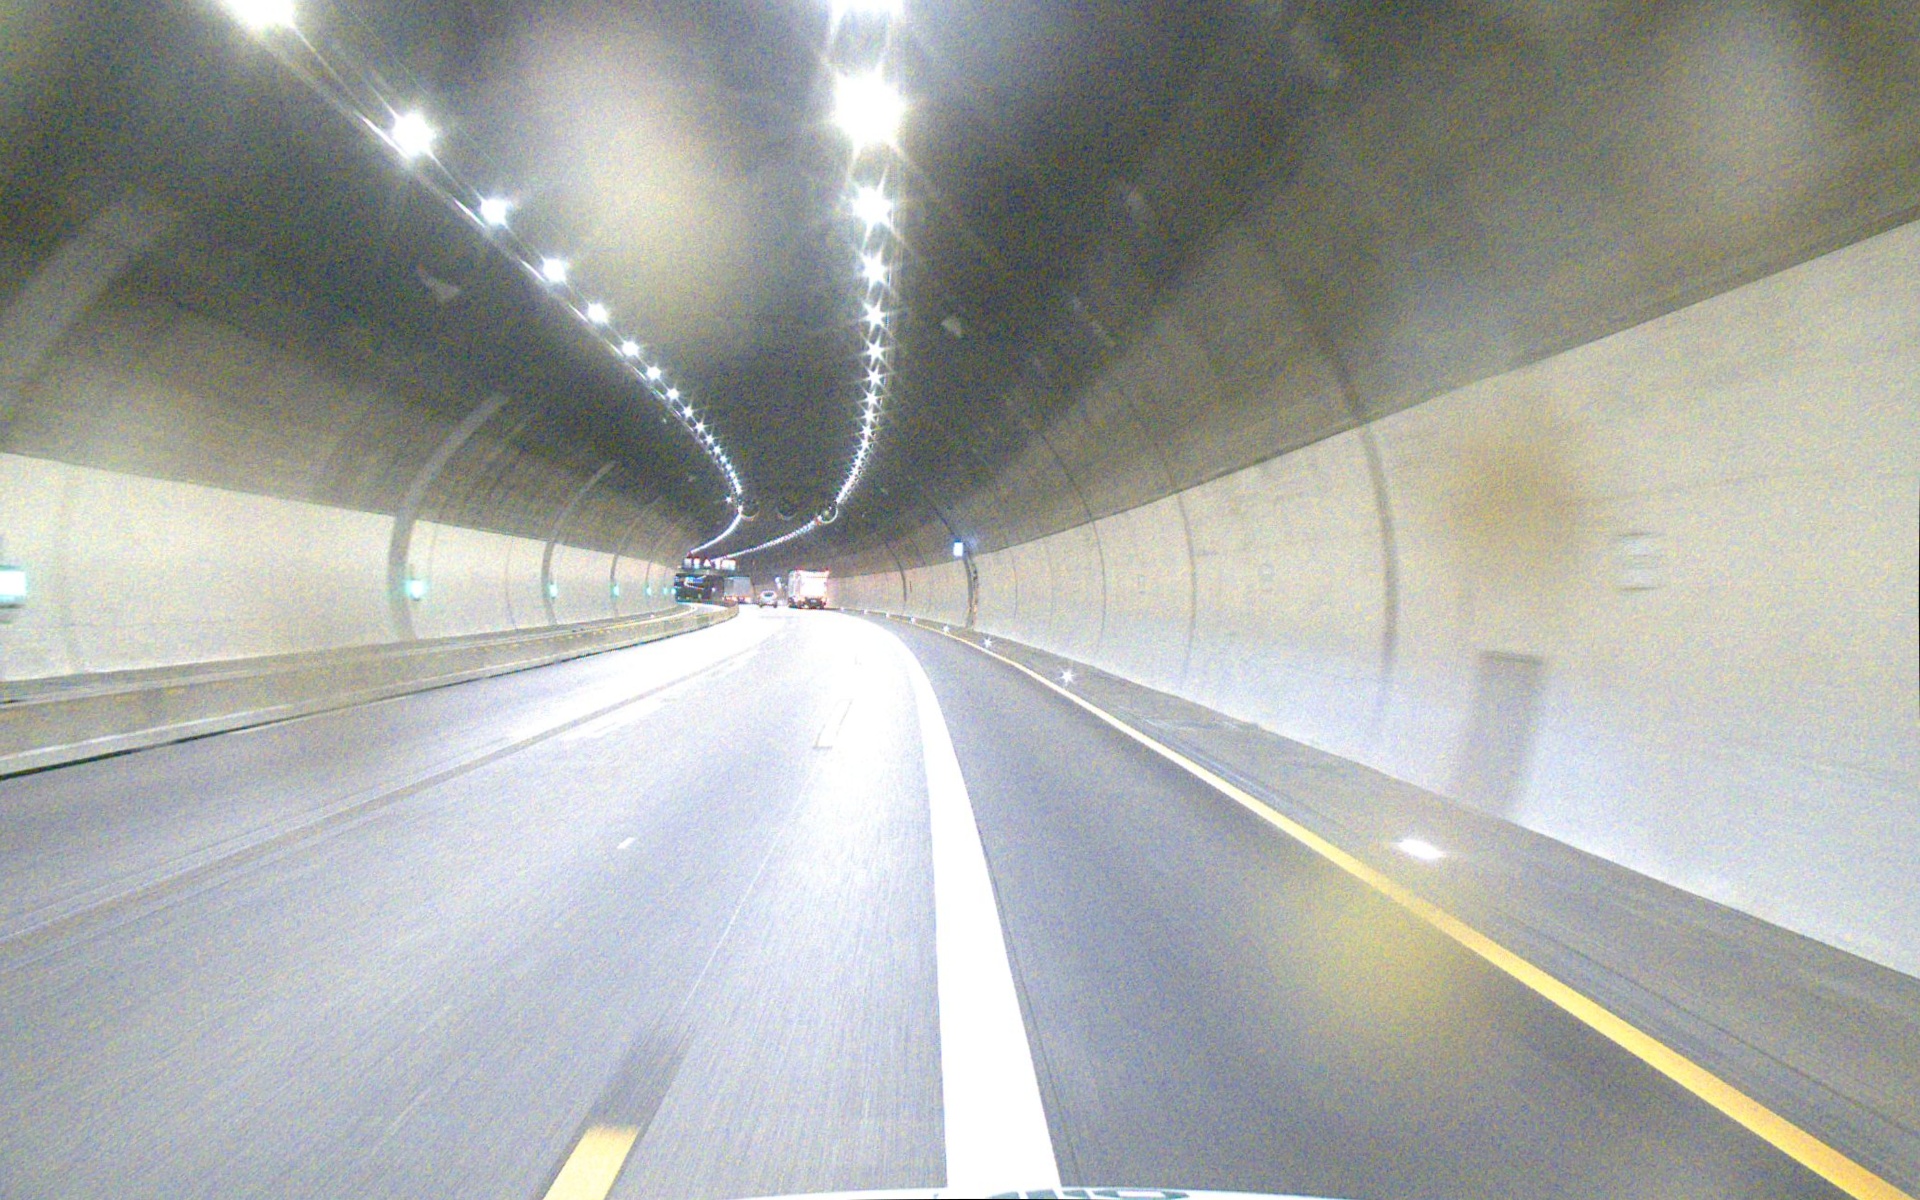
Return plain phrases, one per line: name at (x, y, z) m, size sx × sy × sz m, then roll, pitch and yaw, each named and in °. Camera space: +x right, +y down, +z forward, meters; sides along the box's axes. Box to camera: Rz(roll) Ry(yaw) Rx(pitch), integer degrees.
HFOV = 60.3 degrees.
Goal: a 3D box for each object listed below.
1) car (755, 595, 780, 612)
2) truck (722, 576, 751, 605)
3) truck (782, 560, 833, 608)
car at (-19.104, 0.325, 163.887) m, size 1.960 × 1.609 × 3.986 m, roll 1°, pitch 0°, yaw -14°
truck at (-34.352, -1.437, 254.058) m, size 3.414 × 4.392 × 10.915 m, roll 0°, pitch 0°, yaw -13°
truck at (-14.502, -1.494, 156.336) m, size 3.414 × 4.391 × 10.915 m, roll 0°, pitch 0°, yaw -13°
